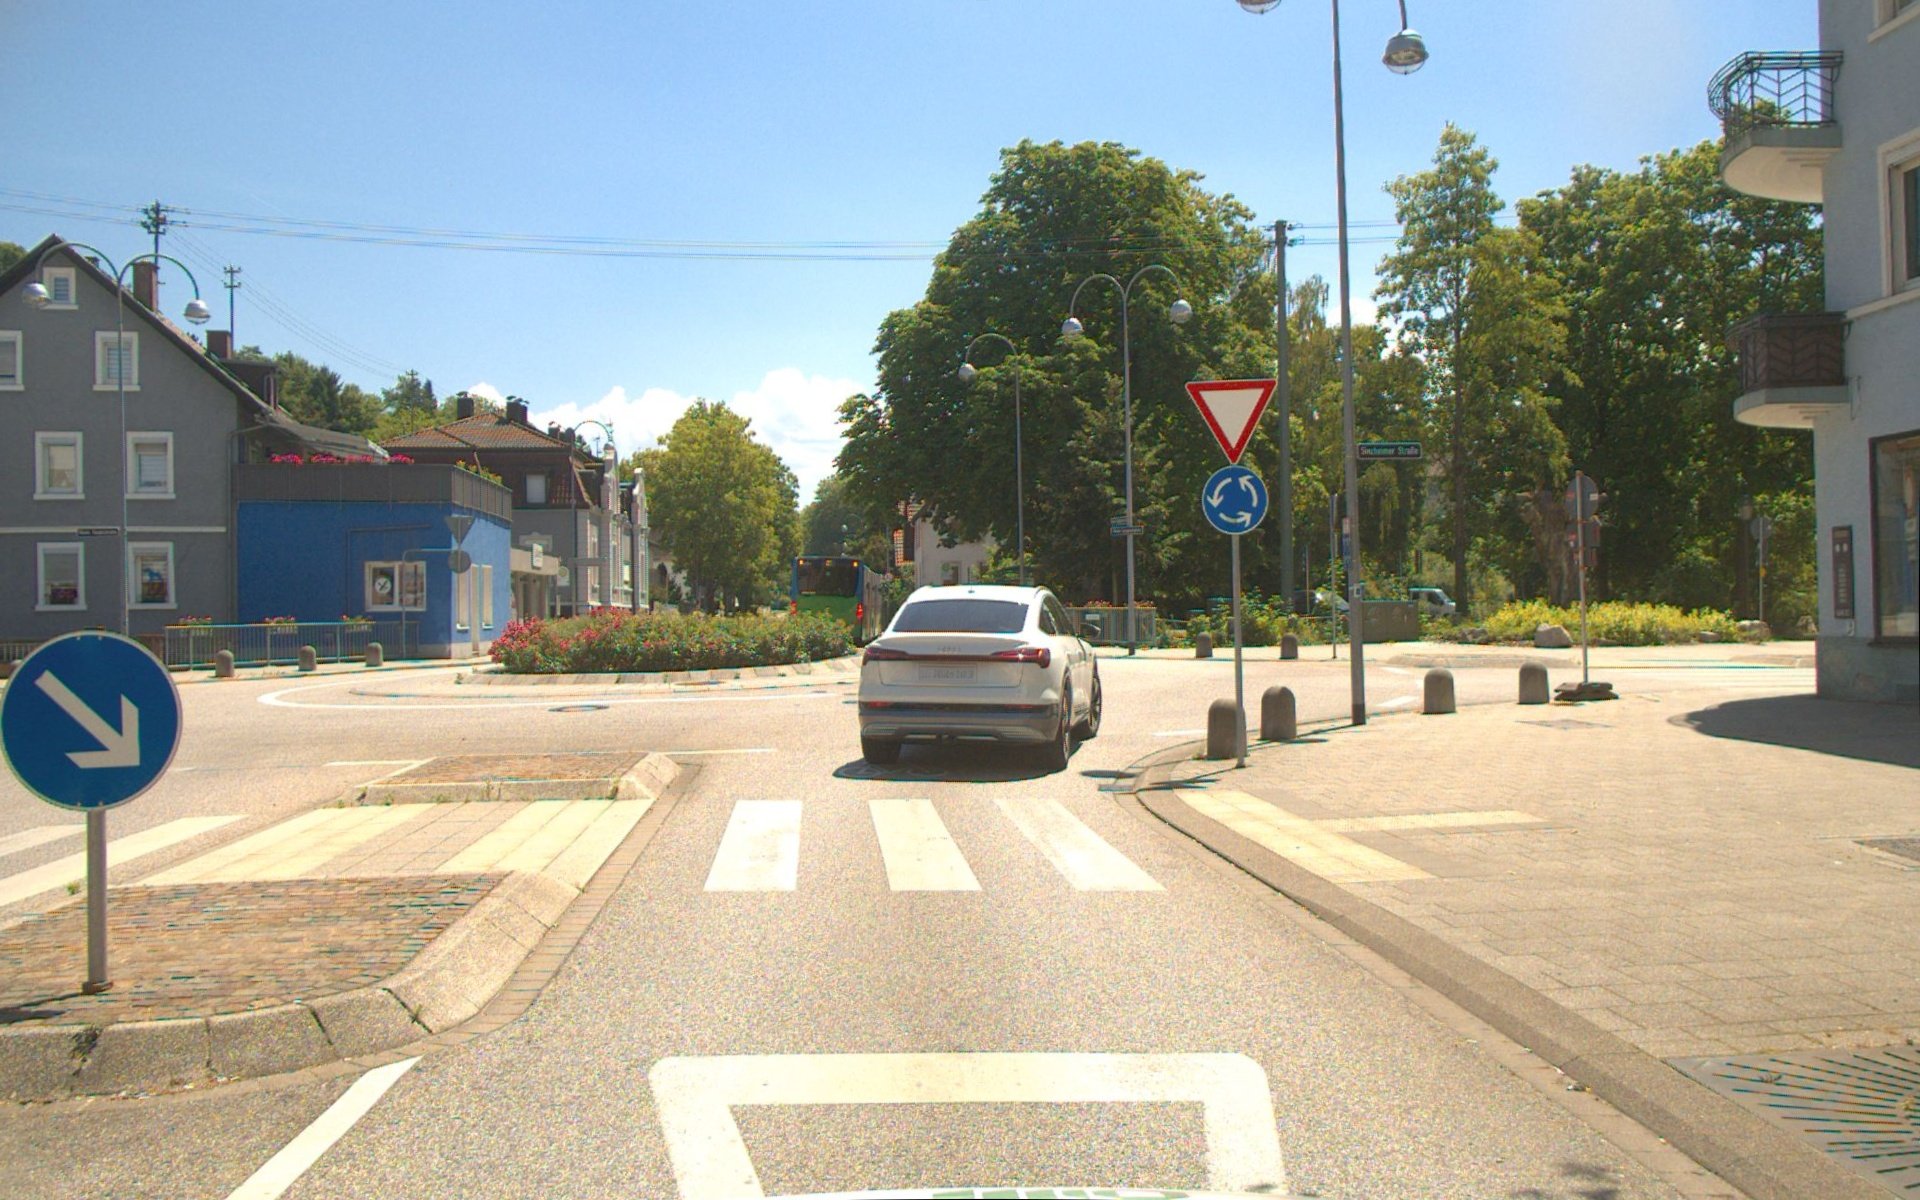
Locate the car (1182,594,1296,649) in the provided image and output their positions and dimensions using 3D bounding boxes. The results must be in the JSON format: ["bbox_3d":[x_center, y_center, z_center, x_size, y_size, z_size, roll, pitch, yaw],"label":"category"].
[{"bbox_3d":[8.491,0.634,50.390,3.002,1.580,1.626,-1,0,-18],"label":"car"}]

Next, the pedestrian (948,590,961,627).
[{"bbox_3d":[-0.248,0.389,75.499,0.493,1.679,0.578,-1,0,-10],"label":"pedestrian"}]

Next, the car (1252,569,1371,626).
[{"bbox_3d":[13.079,-0.066,61.688,1.985,2.049,3.935,-1,0,-44],"label":"car"}]

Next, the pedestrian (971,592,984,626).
[{"bbox_3d":[0.793,0.420,76.479,0.480,1.548,0.541,-1,0,-10],"label":"pedestrian"}]

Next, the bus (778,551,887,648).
[{"bbox_3d":[-4.740,0.071,65.068,3.632,3.227,18.058,1,-1,-3],"label":"bus"}]

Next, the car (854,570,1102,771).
[{"bbox_3d":[0.330,0.564,16.442,1.858,1.691,4.413,0,1,9],"label":"car"}]

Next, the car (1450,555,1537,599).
[{"bbox_3d":[26.207,-1.126,81.262,3.905,2.049,2.000,-1,0,22],"label":"car"}]
